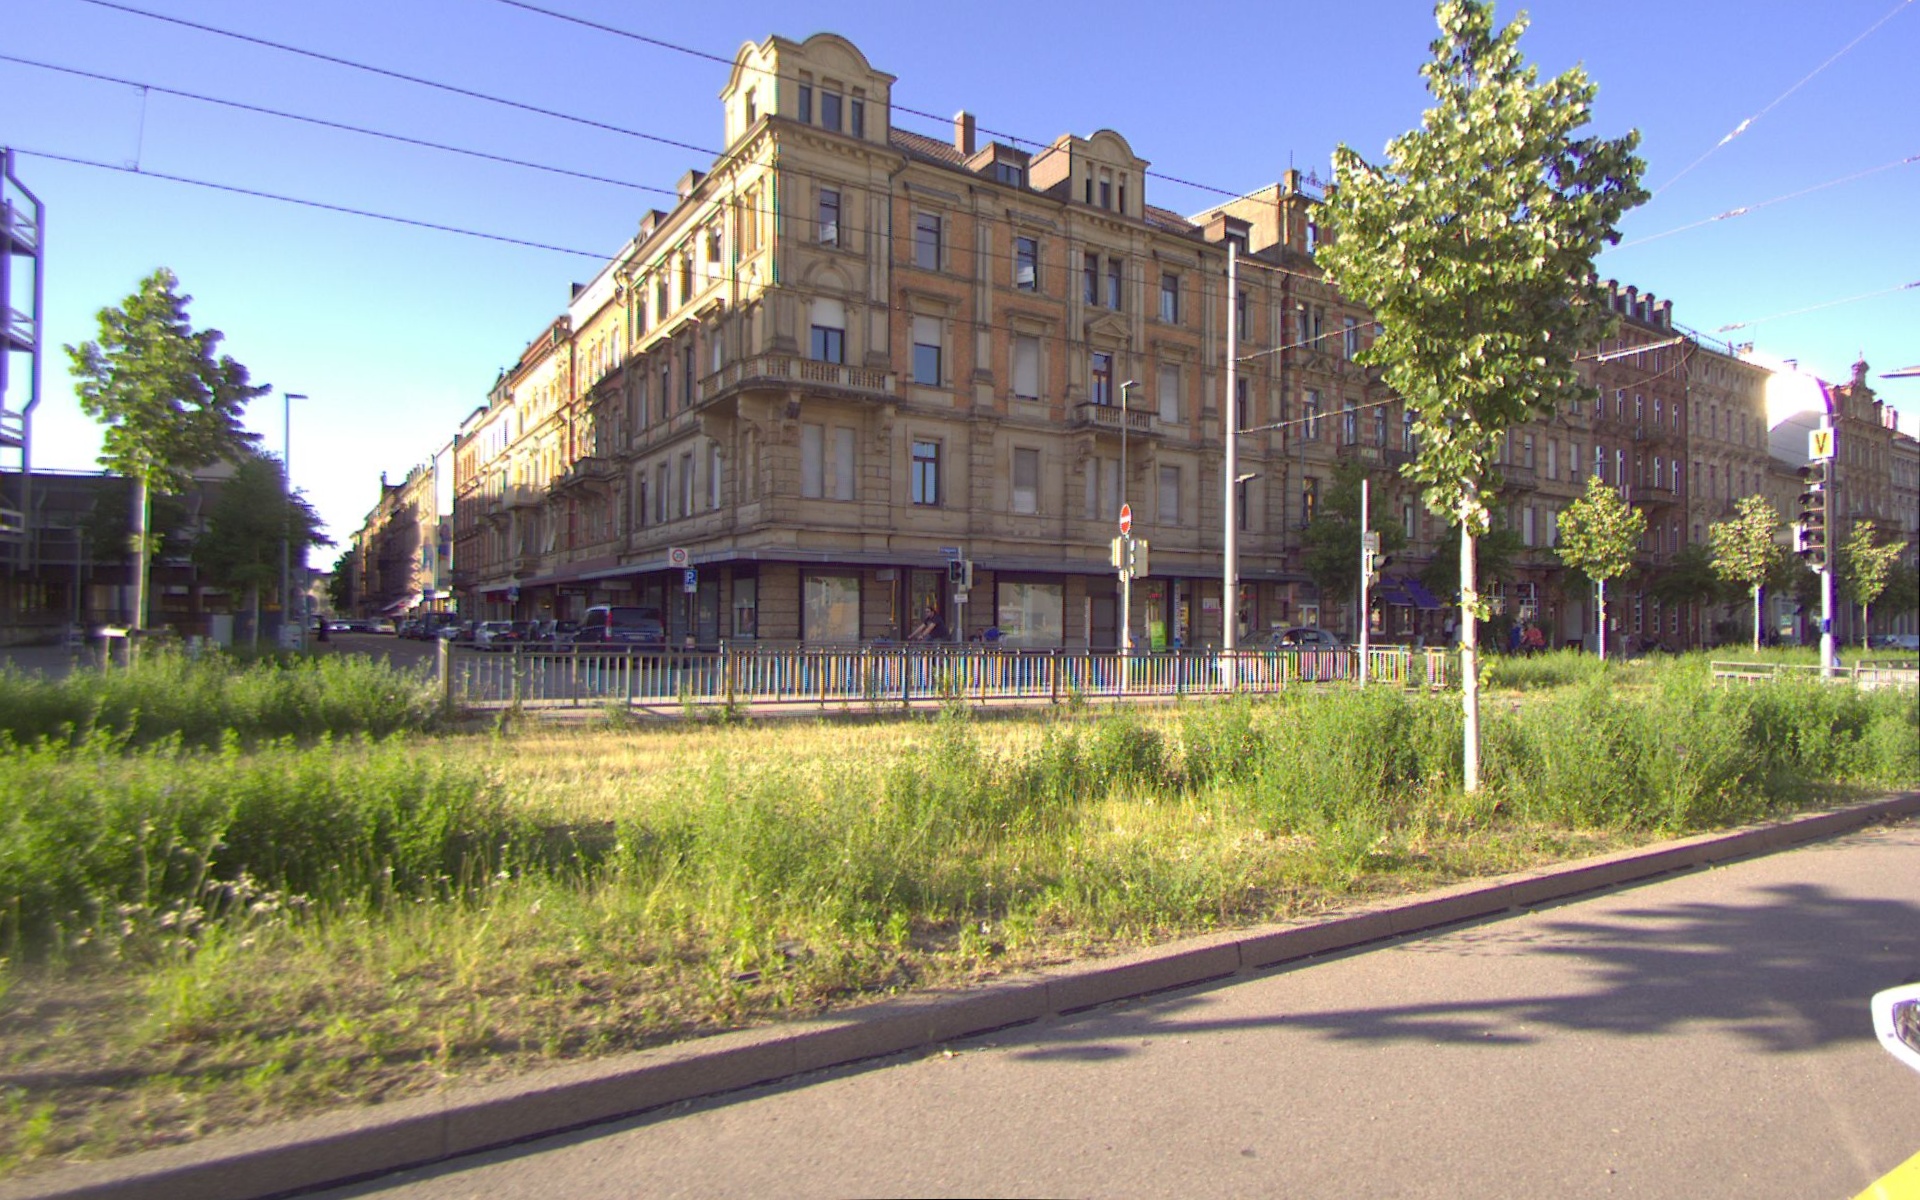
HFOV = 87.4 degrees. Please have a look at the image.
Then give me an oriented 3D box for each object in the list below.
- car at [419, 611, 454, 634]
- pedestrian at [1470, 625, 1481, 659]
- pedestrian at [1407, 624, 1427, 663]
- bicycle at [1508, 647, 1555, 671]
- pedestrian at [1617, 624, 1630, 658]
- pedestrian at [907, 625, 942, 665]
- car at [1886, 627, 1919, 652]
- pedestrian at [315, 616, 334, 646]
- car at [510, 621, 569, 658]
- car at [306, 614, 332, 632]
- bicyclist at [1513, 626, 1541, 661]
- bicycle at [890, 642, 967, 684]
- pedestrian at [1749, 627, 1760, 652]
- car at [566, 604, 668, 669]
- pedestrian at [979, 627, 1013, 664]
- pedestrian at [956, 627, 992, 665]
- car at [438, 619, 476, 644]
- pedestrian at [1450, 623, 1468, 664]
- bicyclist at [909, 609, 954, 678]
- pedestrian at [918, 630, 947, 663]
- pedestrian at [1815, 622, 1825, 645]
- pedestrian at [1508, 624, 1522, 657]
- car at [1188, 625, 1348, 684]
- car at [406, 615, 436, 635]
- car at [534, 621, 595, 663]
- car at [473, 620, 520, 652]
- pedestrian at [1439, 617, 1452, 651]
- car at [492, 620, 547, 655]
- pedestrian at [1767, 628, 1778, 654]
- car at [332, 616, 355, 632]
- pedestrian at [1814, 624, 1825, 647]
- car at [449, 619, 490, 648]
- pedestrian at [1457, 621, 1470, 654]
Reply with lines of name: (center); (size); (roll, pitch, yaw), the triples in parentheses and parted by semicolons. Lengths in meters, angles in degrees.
car: (-34.287, 1.491, 65.736); (1.584, 1.427, 3.328); (2, -2, -36)
pedestrian: (24.823, 1.999, 48.407); (0.360, 1.606, 0.406); (2, 1, 19)
pedestrian: (19.348, 1.829, 42.522); (0.527, 1.606, 0.484); (1, 1, -32)
bicycle: (21.322, 2.193, 37.467); (2.008, 0.869, 0.634); (1, -1, -31)
pedestrian: (35.692, 2.201, 54.025); (0.402, 1.788, 0.365); (1, 1, -32)
pedestrian: (-1.144, 1.437, 32.403); (0.919, 1.263, 0.687); (1, -1, -31)
car: (61.354, 2.506, 64.566); (4.663, 1.583, 1.558); (1, -1, -32)
pedestrian: (-32.051, 1.560, 50.659); (0.729, 1.536, 0.610); (2, -1, -38)
car: (-16.995, 1.552, 40.524); (1.565, 1.427, 3.032); (1, -2, -36)
car: (-59.905, 2.161, 93.846); (1.839, 1.595, 3.961); (2, -2, -35)
bicyclist: (21.047, 1.609, 37.298); (0.730, 1.256, 0.634); (1, -1, -31)
bicycle: (-0.776, 1.549, 25.017); (1.806, 0.991, 0.691); (2, -1, -31)
pedestrian: (51.590, 2.543, 65.214); (0.381, 1.606, 0.431); (1, 1, -34)
car: (-10.971, 1.135, 31.937); (1.880, 1.928, 4.479); (1, -2, -36)
pedestrian: (1.206, 1.546, 34.053); (0.919, 1.224, 0.687); (1, -1, -31)
pedestrian: (0.467, 1.498, 33.109); (0.919, 1.224, 0.787); (1, -1, -31)
car: (-28.784, 1.785, 57.472); (1.490, 1.428, 3.016); (1, -2, -36)
pedestrian: (21.977, 1.901, 44.225); (0.402, 1.788, 0.505); (1, 1, -32)
bicyclist: (-0.715, 1.082, 25.051); (0.872, 1.679, 0.691); (1, -1, -31)
pedestrian: (-0.938, 1.542, 33.670); (0.727, 1.073, 0.687); (1, -1, -31)
pedestrian: (58.833, 2.285, 68.710); (0.430, 1.555, 0.403); (1, 1, -32)
pedestrian: (26.744, 1.948, 48.413); (0.421, 1.606, 0.401); (1, 1, -32)
car: (8.120, 1.401, 26.410); (4.023, 1.439, 1.844); (1, -2, -31)
car: (-39.307, 1.781, 73.282); (1.556, 1.397, 3.661); (0, -1, -34)
car: (-14.702, 1.524, 37.276); (1.370, 1.488, 3.123); (1, -2, -36)
car: (-21.898, 1.681, 47.440); (1.471, 1.427, 3.032); (1, -2, -36)
pedestrian: (23.777, 1.660, 49.174); (0.383, 1.606, 0.386); (2, 1, -1)
car: (-18.918, 1.581, 43.048); (1.565, 1.427, 3.032); (1, -2, -36)
pedestrian: (52.106, 2.641, 64.413); (0.335, 1.606, 0.426); (1, 1, -30)
car: (-66.549, 2.597, 108.406); (1.850, 1.662, 3.961); (2, -2, -35)
pedestrian: (58.809, 2.438, 68.721); (0.430, 1.553, 0.403); (1, 1, -32)
car: (-25.778, 1.744, 52.773); (1.471, 1.427, 3.032); (1, -2, -36)
pedestrian: (24.337, 1.807, 48.550); (0.475, 1.606, 0.481); (2, 1, 26)
